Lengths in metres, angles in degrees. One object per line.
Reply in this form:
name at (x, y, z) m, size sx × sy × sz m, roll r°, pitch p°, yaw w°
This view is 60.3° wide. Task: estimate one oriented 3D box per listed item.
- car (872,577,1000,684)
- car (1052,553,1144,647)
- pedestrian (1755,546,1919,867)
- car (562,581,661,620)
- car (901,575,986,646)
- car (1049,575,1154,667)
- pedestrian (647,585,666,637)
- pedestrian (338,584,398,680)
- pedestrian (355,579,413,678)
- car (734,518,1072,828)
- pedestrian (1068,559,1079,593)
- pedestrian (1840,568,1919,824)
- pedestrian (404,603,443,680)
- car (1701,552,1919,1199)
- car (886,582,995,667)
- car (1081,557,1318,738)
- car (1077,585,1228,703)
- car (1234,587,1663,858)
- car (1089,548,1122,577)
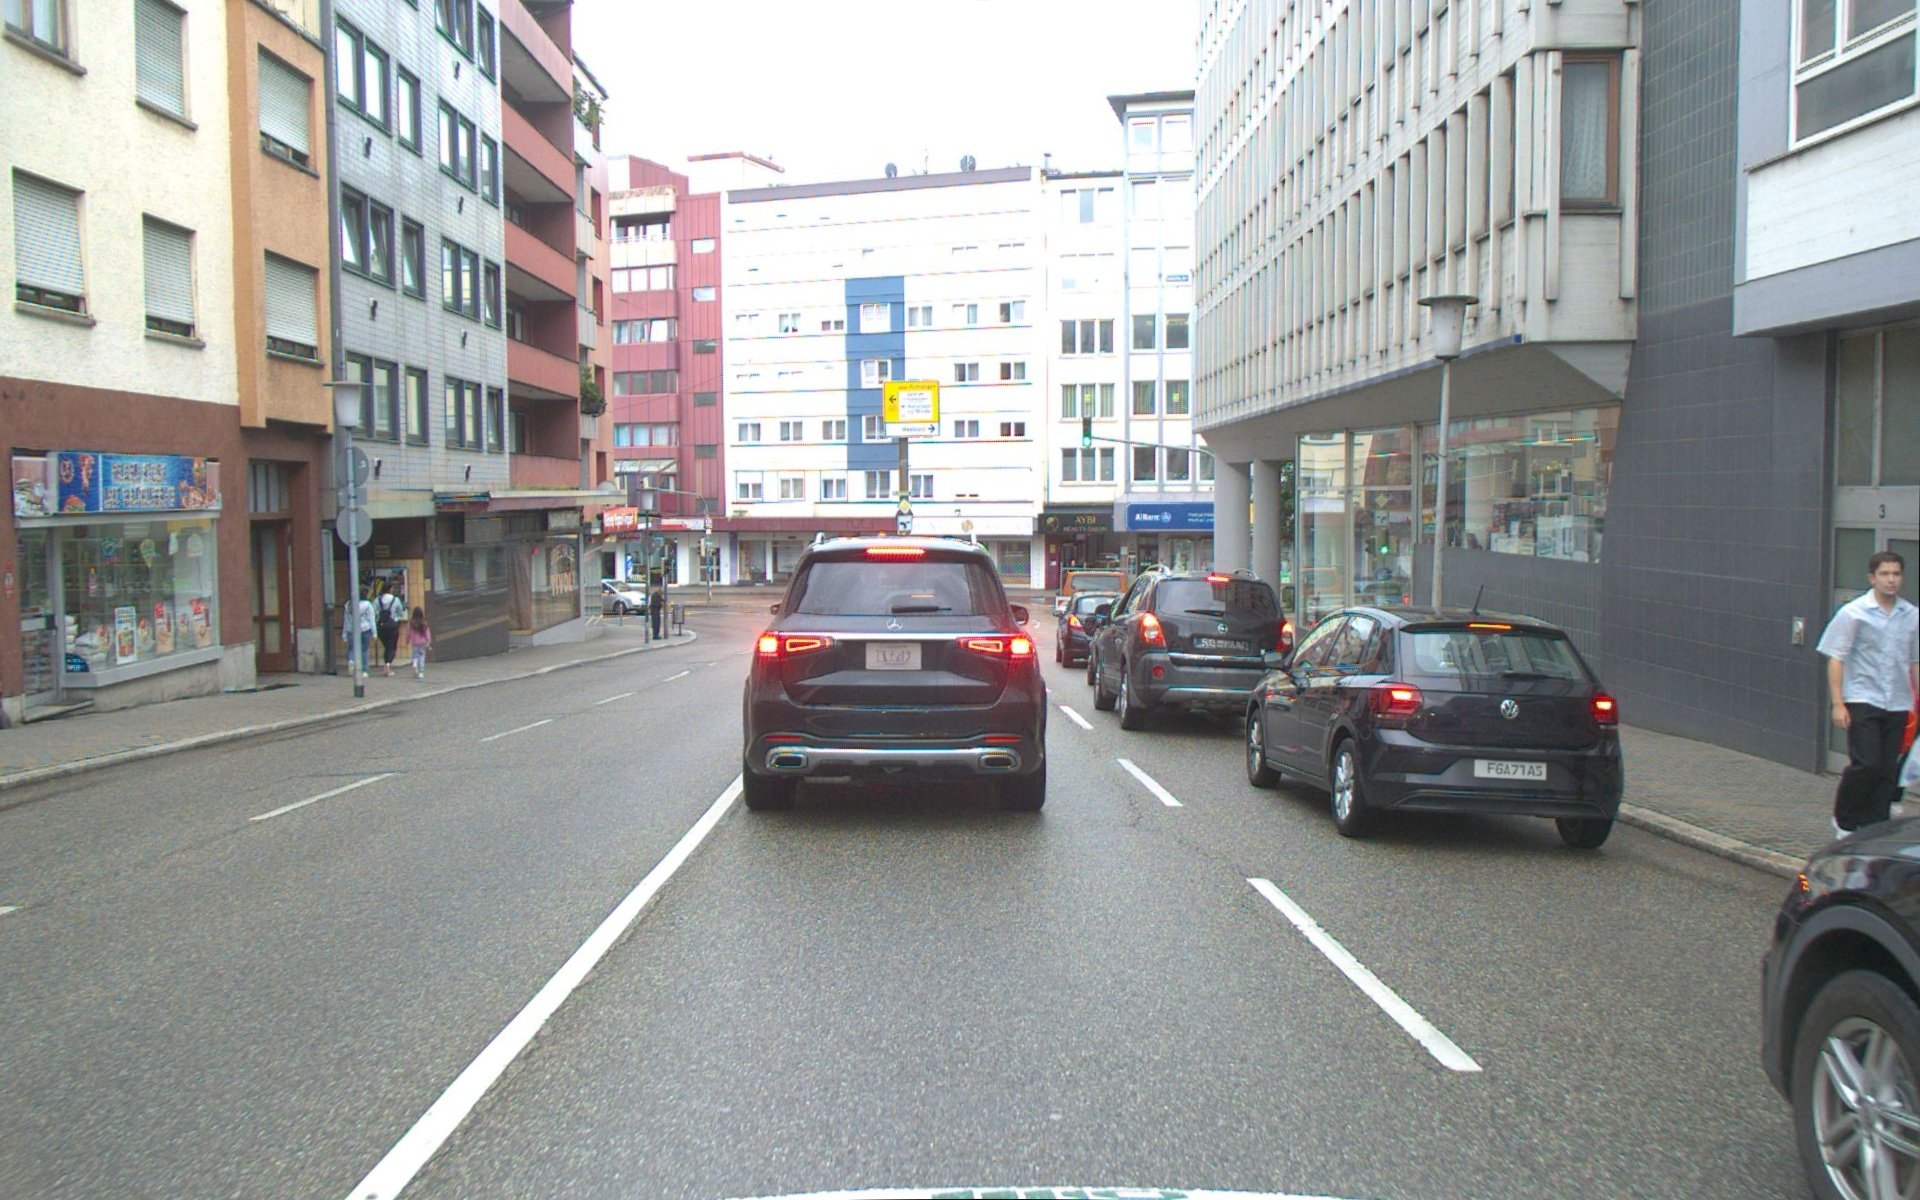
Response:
car at (-0.433, 0.418, 26.245) m, size 1.836 × 1.521 × 4.398 m, roll 1°, pitch 1°, yaw -2°
car at (3.519, -0.010, 43.064) m, size 2.195 × 2.267 × 5.431 m, roll 1°, pitch 0°, yaw 3°
pedestrian at (5.335, 0.571, 9.614) m, size 0.768 × 1.735 × 1.120 m, roll -3°, pitch 0°, yaw -4°
car at (-15.823, -0.001, 75.144) m, size 4.073 × 1.620 × 1.742 m, roll 1°, pitch 1°, yaw 15°
car at (-0.401, 0.277, 40.151) m, size 1.885 × 1.542 × 4.661 m, roll 2°, pitch -1°, yaw -1°
car at (2.784, 0.412, 33.338) m, size 1.785 × 1.687 × 4.496 m, roll 1°, pitch 0°, yaw 1°
pedestrian at (-10.029, 0.364, 54.751) m, size 0.543 × 1.727 × 0.623 m, roll 0°, pitch 0°, yaw -4°
pedestrian at (-10.140, 0.541, 28.347) m, size 0.812 × 1.588 × 0.722 m, roll 2°, pitch 0°, yaw -10°
pedestrian at (-10.324, 0.501, 29.664) m, size 0.812 × 1.719 × 0.722 m, roll 2°, pitch 0°, yaw -10°
car at (-0.423, 0.417, 12.235) m, size 1.998 × 1.830 × 4.661 m, roll 1°, pitch 1°, yaw -2°
pedestrian at (5.986, -1.269, 87.341) m, size 0.552 × 1.717 × 0.757 m, roll 0°, pitch 6°, yaw 5°
pedestrian at (6.288, 0.584, 10.582) m, size 0.750 × 1.578 × 0.890 m, roll -3°, pitch 0°, yaw -4°
pedestrian at (-9.545, 0.731, 29.447) m, size 0.523 × 1.346 × 0.722 m, roll 2°, pitch 0°, yaw -9°
car at (3.018, 0.727, 2.505) m, size 1.786 × 1.587 × 4.200 m, roll 2°, pitch 0°, yaw -1°
car at (-0.368, 0.424, 32.115) m, size 1.953 × 1.512 × 4.236 m, roll -1°, pitch 1°, yaw -1°
car at (2.576, 0.456, 18.880) m, size 1.859 × 1.724 × 4.504 m, roll 3°, pitch 1°, yaw -2°
car at (2.746, 0.575, 24.403) m, size 1.731 × 1.421 × 4.001 m, roll 5°, pitch 1°, yaw 1°
car at (3.195, 0.704, 11.677) m, size 1.654 × 1.502 × 3.998 m, roll 3°, pitch 1°, yaw -2°
car at (8.851, -2.264, 100.253) m, size 1.759 × 1.699 × 4.004 m, roll -1°, pitch 1°, yaw 8°
